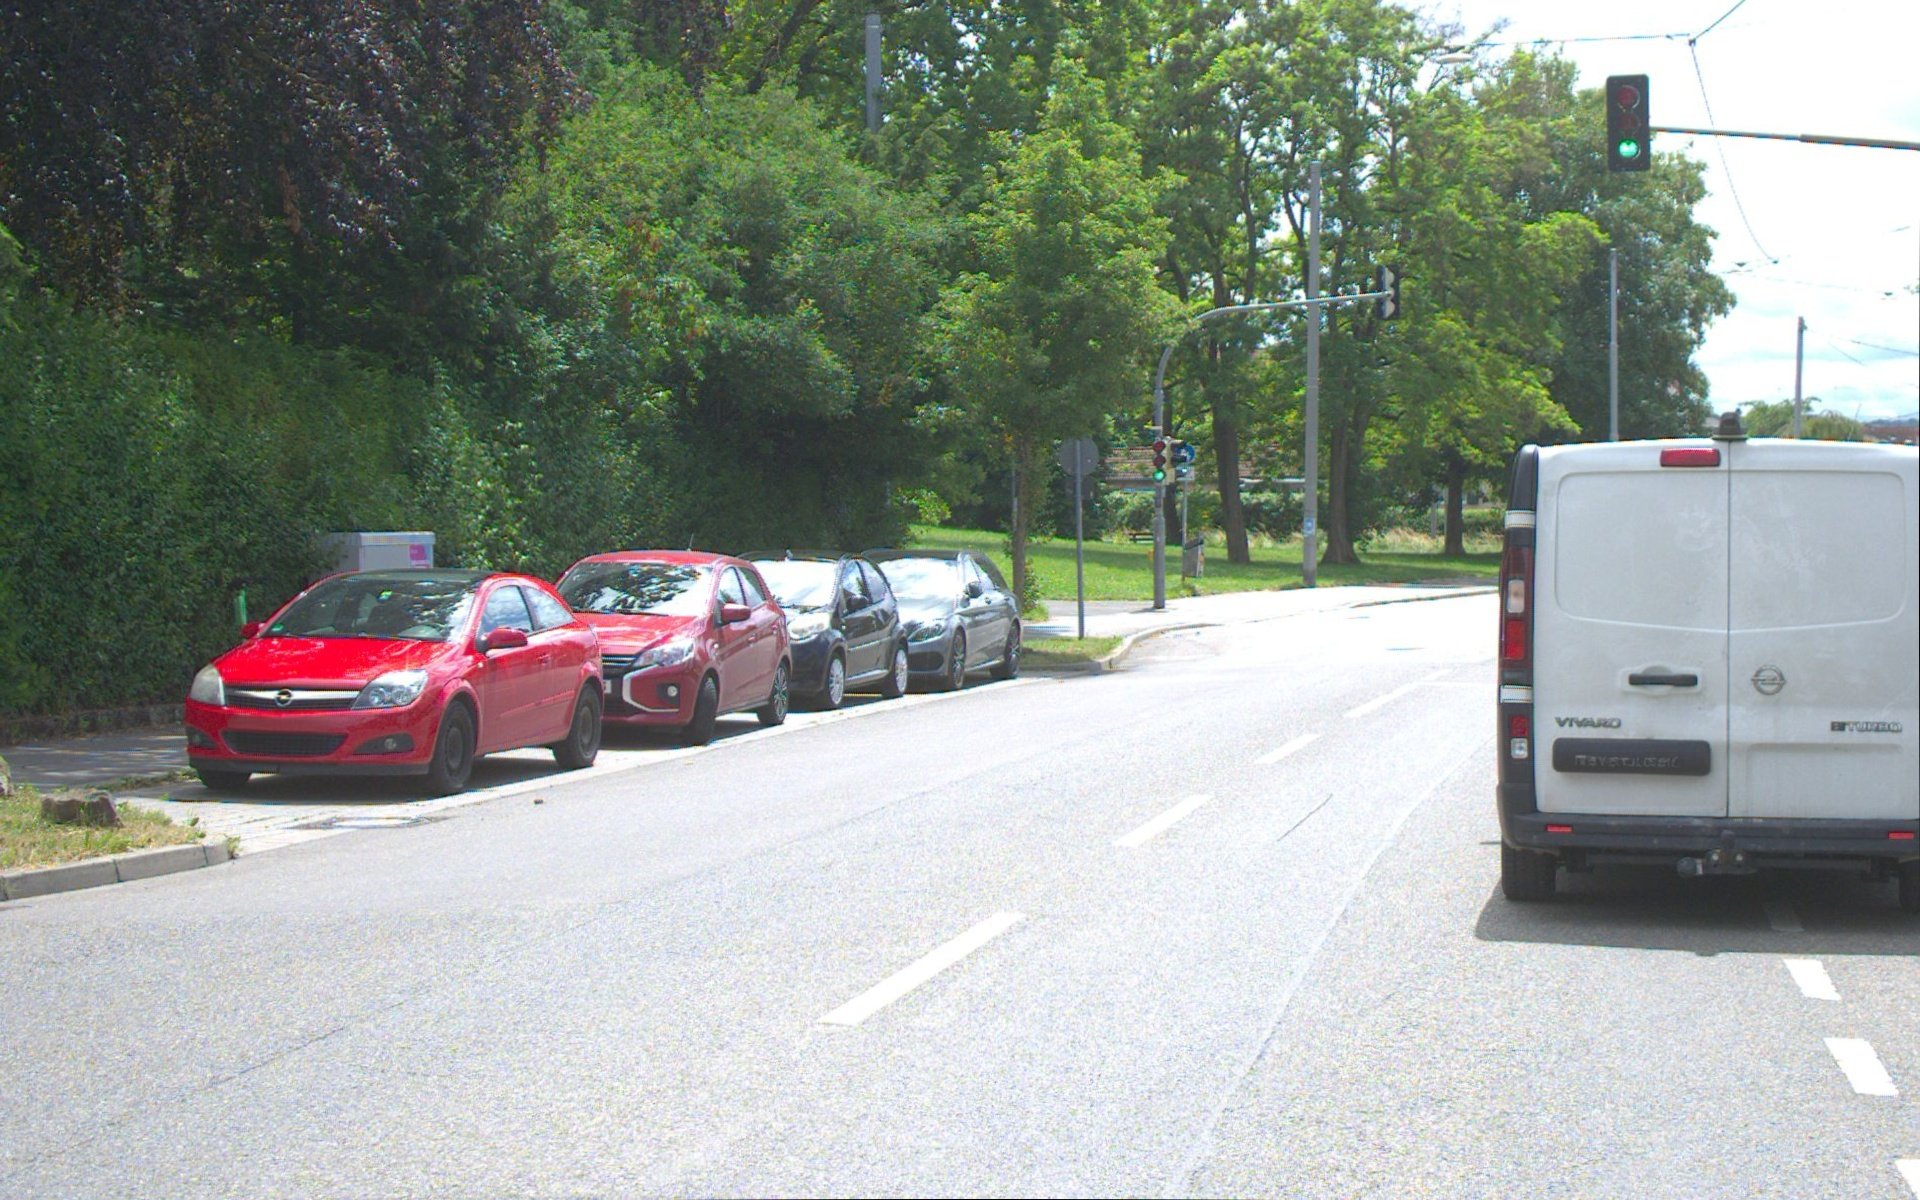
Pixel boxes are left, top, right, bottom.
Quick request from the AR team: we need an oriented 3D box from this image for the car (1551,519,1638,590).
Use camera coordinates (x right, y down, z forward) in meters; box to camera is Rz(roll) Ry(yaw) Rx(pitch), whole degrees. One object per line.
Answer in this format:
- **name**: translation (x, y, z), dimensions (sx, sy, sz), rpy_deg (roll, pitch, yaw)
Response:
- **car**: translation (15.387, -1.118, 83.223), dimensions (1.834, 1.611, 4.150), rpy_deg (-2, 1, 13)

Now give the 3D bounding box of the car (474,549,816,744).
- **car**: translation (-2.496, 0.317, 28.249), dimensions (1.650, 1.445, 4.103), rpy_deg (1, 1, 12)

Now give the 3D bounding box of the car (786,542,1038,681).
- **car**: translation (-0.442, 0.078, 37.185), dimensions (1.696, 1.361, 4.684), rpy_deg (1, 1, 12)

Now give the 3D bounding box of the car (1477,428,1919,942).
- **car**: translation (3.505, 0.269, 15.620), dimensions (1.940, 1.954, 4.831), rpy_deg (1, 1, 12)

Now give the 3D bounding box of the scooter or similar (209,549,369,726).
- **scooter or similar**: translation (-5.559, 0.287, 28.567), dimensions (0.670, 1.407, 1.648), rpy_deg (1, 1, 14)

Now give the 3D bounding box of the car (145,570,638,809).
- **car**: translation (-3.671, 0.519, 23.080), dimensions (1.661, 1.373, 4.563), rpy_deg (1, 1, 13)

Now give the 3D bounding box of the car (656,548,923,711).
- **car**: translation (-1.581, 0.237, 33.033), dimensions (1.596, 1.445, 3.594), rpy_deg (1, 1, 14)
